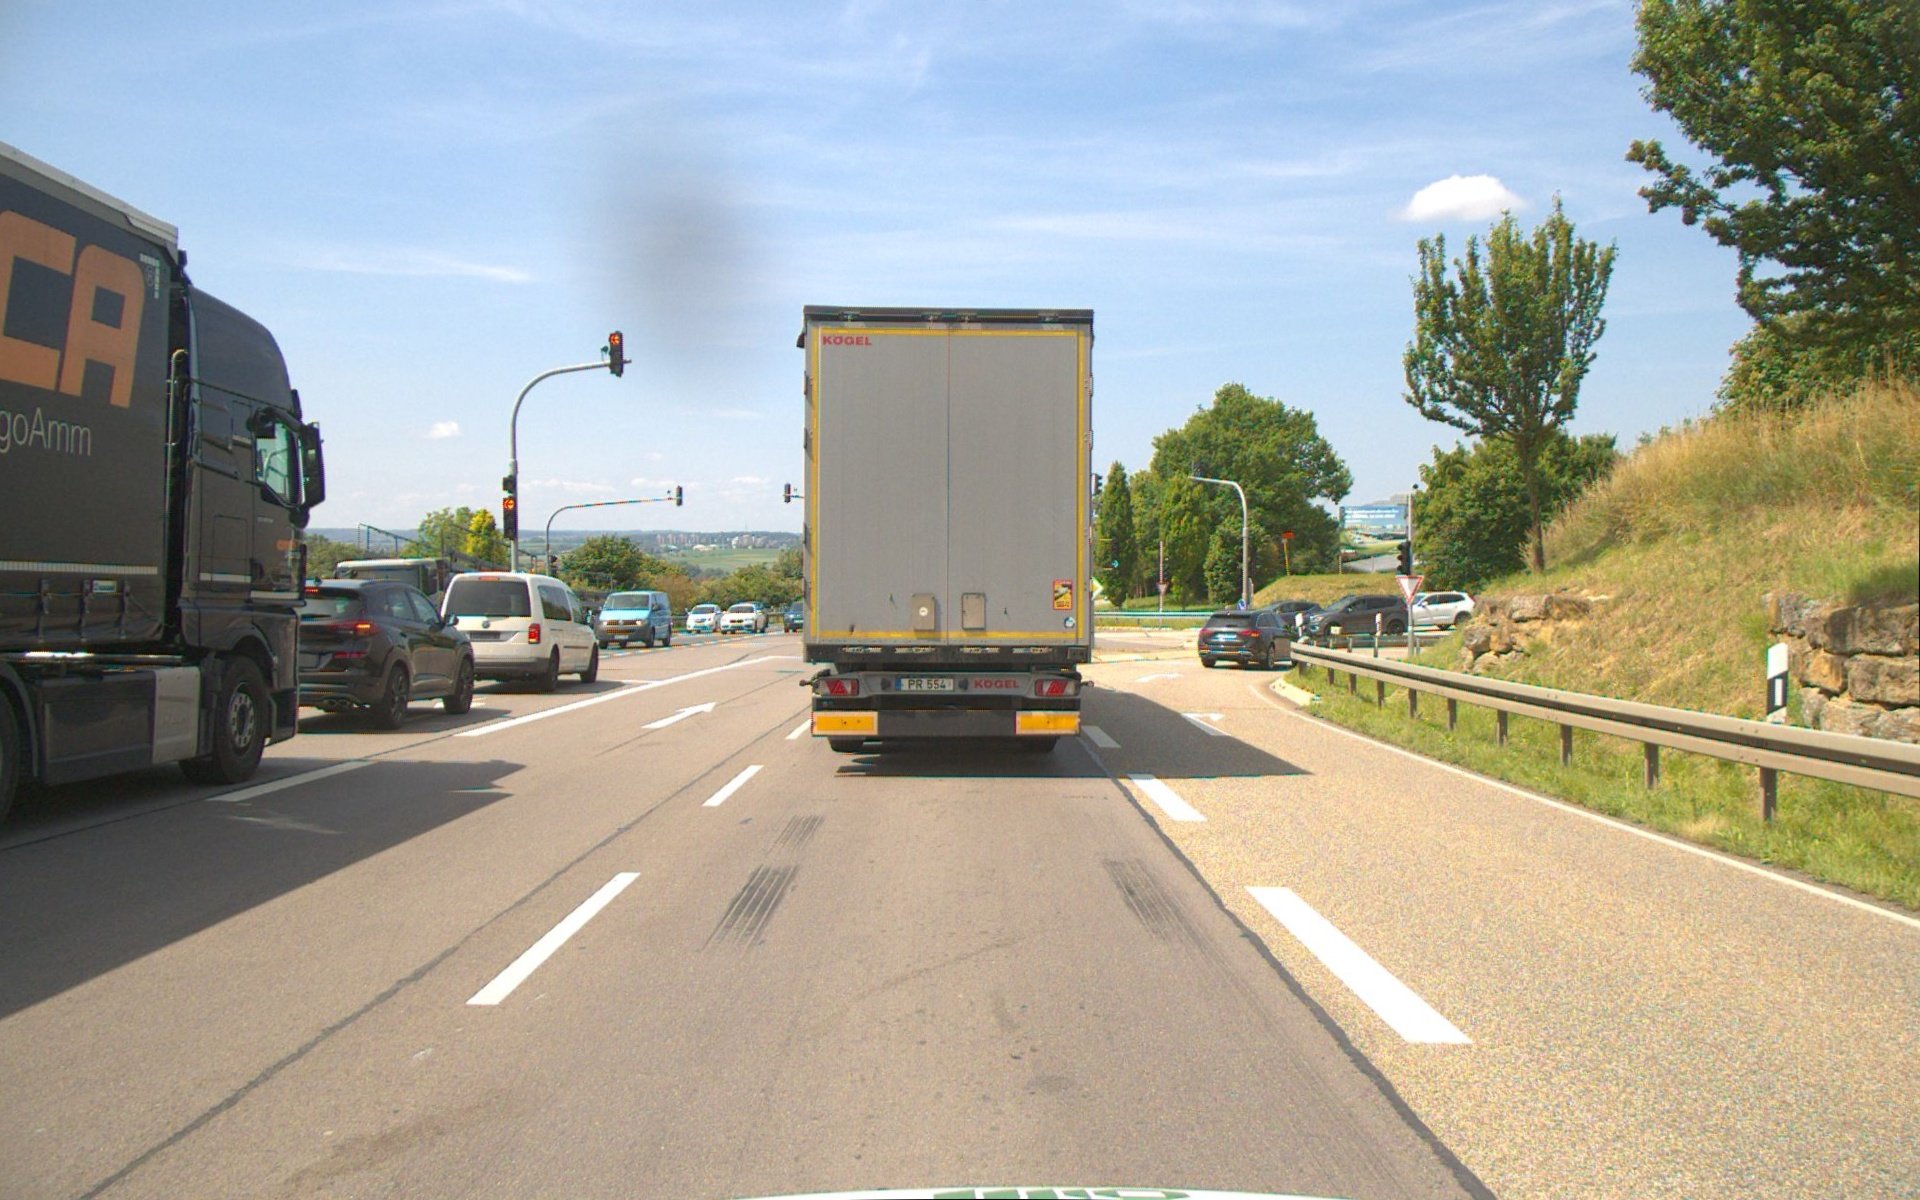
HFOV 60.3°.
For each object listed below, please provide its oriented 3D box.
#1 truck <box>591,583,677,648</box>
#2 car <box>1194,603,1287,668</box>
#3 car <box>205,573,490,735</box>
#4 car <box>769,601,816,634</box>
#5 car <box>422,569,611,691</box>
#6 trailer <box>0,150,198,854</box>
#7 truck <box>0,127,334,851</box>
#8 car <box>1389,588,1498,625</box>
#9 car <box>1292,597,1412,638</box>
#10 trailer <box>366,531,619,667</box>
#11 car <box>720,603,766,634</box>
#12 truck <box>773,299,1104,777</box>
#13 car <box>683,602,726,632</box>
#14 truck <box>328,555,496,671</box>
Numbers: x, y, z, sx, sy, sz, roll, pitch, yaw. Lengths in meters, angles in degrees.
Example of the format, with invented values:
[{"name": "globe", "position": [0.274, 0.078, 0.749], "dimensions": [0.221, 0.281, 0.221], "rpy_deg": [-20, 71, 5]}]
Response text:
[{"name": "truck", "position": [-11.464, 0.556, 58.522], "dimensions": [1.925, 2.195, 4.625], "rpy_deg": [-1, -1, 2]}, {"name": "car", "position": [7.287, 0.904, 42.683], "dimensions": [1.709, 1.559, 4.300], "rpy_deg": [0, -1, 19]}, {"name": "car", "position": [-7.086, 0.574, 19.650], "dimensions": [1.818, 1.686, 4.347], "rpy_deg": [1, 0, -1]}, {"name": "car", "position": [-8.262, 0.860, 81.796], "dimensions": [1.719, 1.494, 4.196], "rpy_deg": [3, -1, 1]}, {"name": "car", "position": [-7.246, 0.464, 27.507], "dimensions": [1.731, 1.830, 4.753], "rpy_deg": [1, 0, 1]}, {"name": "trailer", "position": [-6.723, -0.582, 4.894], "dimensions": [2.726, 3.982, 13.783], "rpy_deg": [1, 0, -1]}, {"name": "truck", "position": [-6.828, -0.628, 11.463], "dimensions": [2.727, 4.083, 5.969], "rpy_deg": [1, 0, -1]}, {"name": "car", "position": [21.265, 0.283, 72.802], "dimensions": [4.277, 1.620, 1.776], "rpy_deg": [0, -1, -9]}, {"name": "car", "position": [15.295, 0.683, 64.625], "dimensions": [4.280, 1.537, 1.711], "rpy_deg": [0, -1, -11]}, {"name": "trailer", "position": [-15.240, 0.087, 56.566], "dimensions": [2.584, 3.829, 19.801], "rpy_deg": [0, -1, 1]}, {"name": "car", "position": [-10.815, 0.918, 82.690], "dimensions": [1.736, 1.459, 3.999], "rpy_deg": [-1, -1, 0]}, {"name": "truck", "position": [-0.320, -0.493, 19.651], "dimensions": [2.742, 3.998, 11.337], "rpy_deg": [1, 0, -2]}, {"name": "car", "position": [-13.904, 0.931, 90.217], "dimensions": [1.610, 1.523, 3.802], "rpy_deg": [-2, -1, 2]}, {"name": "truck", "position": [-15.443, 0.377, 47.095], "dimensions": [2.742, 3.066, 5.989], "rpy_deg": [0, -1, 0]}]
